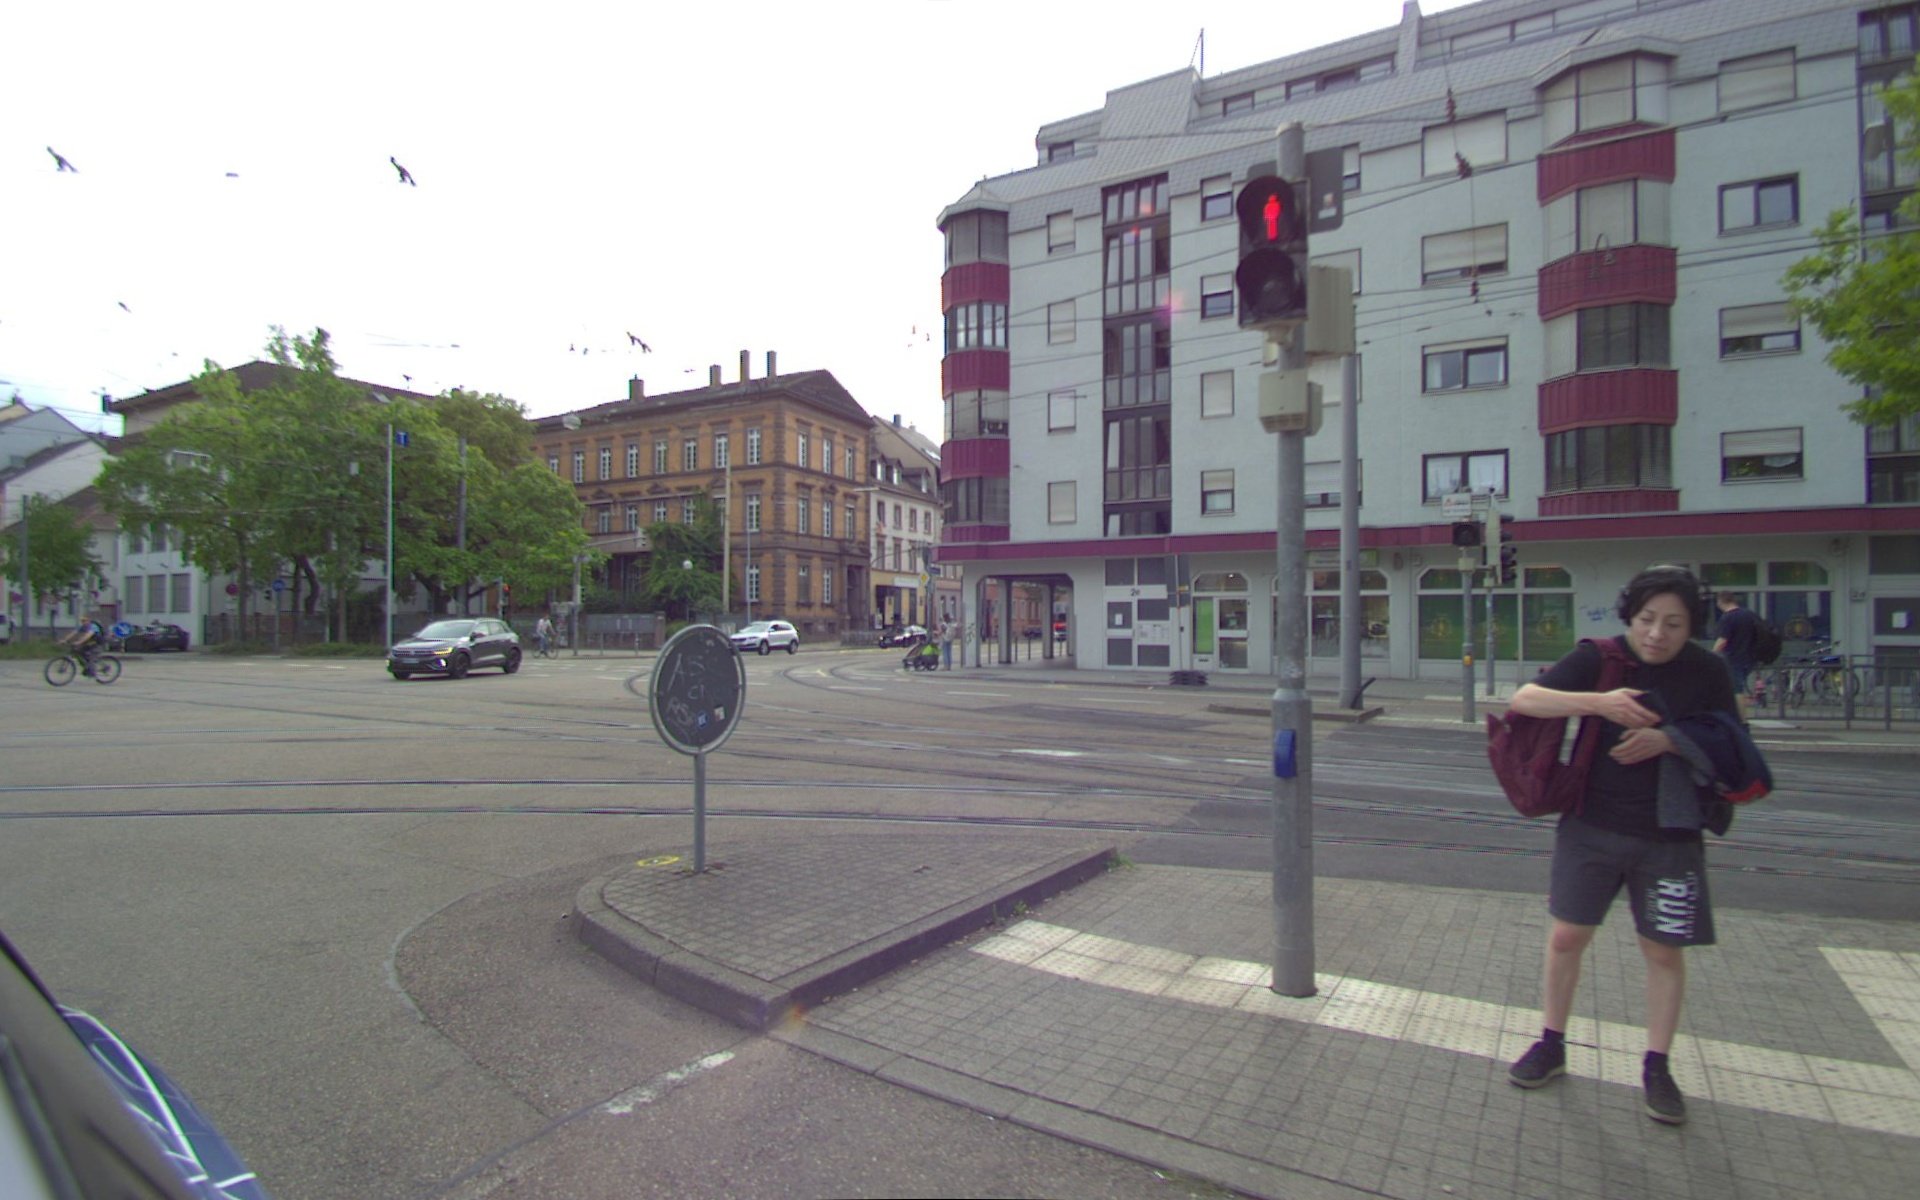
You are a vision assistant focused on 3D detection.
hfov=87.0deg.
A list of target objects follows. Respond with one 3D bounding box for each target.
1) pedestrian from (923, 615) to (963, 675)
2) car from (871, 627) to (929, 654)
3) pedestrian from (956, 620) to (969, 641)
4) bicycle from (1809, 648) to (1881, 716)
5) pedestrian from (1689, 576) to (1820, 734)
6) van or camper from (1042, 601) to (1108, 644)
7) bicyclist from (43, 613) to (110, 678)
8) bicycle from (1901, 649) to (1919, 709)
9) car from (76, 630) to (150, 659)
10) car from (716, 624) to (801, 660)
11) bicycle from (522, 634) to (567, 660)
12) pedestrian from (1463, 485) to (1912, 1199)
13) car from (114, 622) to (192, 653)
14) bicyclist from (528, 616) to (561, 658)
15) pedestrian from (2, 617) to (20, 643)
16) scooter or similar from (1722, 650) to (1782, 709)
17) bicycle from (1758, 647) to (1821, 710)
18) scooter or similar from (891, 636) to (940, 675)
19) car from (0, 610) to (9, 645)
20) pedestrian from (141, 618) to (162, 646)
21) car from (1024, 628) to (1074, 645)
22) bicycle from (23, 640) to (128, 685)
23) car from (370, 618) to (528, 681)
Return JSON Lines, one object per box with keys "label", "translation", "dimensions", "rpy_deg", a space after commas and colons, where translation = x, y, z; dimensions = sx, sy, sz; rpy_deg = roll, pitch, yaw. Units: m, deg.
{"label": "pedestrian", "translation": [-0.514, 1.338, 30.327], "dimensions": [0.944, 1.757, 0.806], "rpy_deg": [-1, -2, 23]}
{"label": "car", "translation": [-3.620, 2.439, 61.862], "dimensions": [1.765, 1.547, 4.012], "rpy_deg": [-3, -3, 27]}
{"label": "pedestrian", "translation": [0.192, 2.584, 85.367], "dimensions": [0.728, 1.701, 0.919], "rpy_deg": [3, 0, 24]}
{"label": "bicycle", "translation": [16.186, 1.462, 18.549], "dimensions": [0.625, 1.026, 2.158], "rpy_deg": [-1, 1, 32]}
{"label": "pedestrian", "translation": [10.087, 0.685, 12.877], "dimensions": [0.791, 1.913, 1.006], "rpy_deg": [1, -2, -23]}
{"label": "van or camper", "translation": [9.884, 1.924, 85.839], "dimensions": [2.595, 3.447, 9.568], "rpy_deg": [-1, -2, 25]}
{"label": "bicyclist", "translation": [-21.092, 1.078, 24.181], "dimensions": [0.709, 1.519, 0.914], "rpy_deg": [0, -3, 14]}
{"label": "bicycle", "translation": [17.409, 1.438, 17.842], "dimensions": [0.624, 1.026, 1.869], "rpy_deg": [-1, 1, 24]}
{"label": "car", "translation": [-46.448, 2.411, 55.460], "dimensions": [4.403, 1.547, 1.742], "rpy_deg": [-1, -2, 31]}
{"label": "car", "translation": [-9.537, 1.960, 48.202], "dimensions": [1.765, 1.603, 4.244], "rpy_deg": [-3, -3, 26]}
{"label": "bicycle", "translation": [-18.050, 2.048, 43.964], "dimensions": [2.009, 1.095, 0.743], "rpy_deg": [-1, -2, 31]}
{"label": "pedestrian", "translation": [2.086, 0.585, 2.974], "dimensions": [0.937, 1.683, 0.756], "rpy_deg": [-1, -2, 38]}
{"label": "car", "translation": [-42.318, 1.973, 53.045], "dimensions": [4.403, 1.573, 1.719], "rpy_deg": [-1, -2, 31]}
{"label": "bicyclist", "translation": [-18.071, 1.603, 43.996], "dimensions": [1.248, 1.774, 0.740], "rpy_deg": [-1, -2, 31]}
{"label": "pedestrian", "translation": [-67.492, 2.139, 71.971], "dimensions": [0.763, 1.795, 0.761], "rpy_deg": [-1, -2, 31]}
{"label": "scooter or similar", "translation": [15.056, 1.497, 19.259], "dimensions": [0.347, 0.995, 1.172], "rpy_deg": [0, 1, 8]}
{"label": "bicycle", "translation": [15.818, 1.468, 19.328], "dimensions": [0.476, 1.026, 1.717], "rpy_deg": [-1, 1, 24]}
{"label": "scooter or similar", "translation": [-1.332, 1.680, 30.653], "dimensions": [1.192, 1.137, 0.939], "rpy_deg": [-2, -3, 24]}
{"label": "car", "translation": [-63.758, 1.789, 65.457], "dimensions": [4.403, 2.206, 2.076], "rpy_deg": [-1, -2, 30]}
{"label": "pedestrian", "translation": [-48.610, 1.920, 60.823], "dimensions": [0.763, 1.663, 0.761], "rpy_deg": [-1, -2, 31]}
{"label": "car", "translation": [8.419, 3.486, 95.922], "dimensions": [4.565, 1.484, 1.789], "rpy_deg": [1, -2, 1]}
{"label": "bicycle", "translation": [-21.099, 1.471, 24.191], "dimensions": [0.708, 1.026, 1.792], "rpy_deg": [0, -3, 13]}
{"label": "car", "translation": [-13.588, 1.291, 27.204], "dimensions": [1.753, 1.559, 4.274], "rpy_deg": [0, -2, 6]}
